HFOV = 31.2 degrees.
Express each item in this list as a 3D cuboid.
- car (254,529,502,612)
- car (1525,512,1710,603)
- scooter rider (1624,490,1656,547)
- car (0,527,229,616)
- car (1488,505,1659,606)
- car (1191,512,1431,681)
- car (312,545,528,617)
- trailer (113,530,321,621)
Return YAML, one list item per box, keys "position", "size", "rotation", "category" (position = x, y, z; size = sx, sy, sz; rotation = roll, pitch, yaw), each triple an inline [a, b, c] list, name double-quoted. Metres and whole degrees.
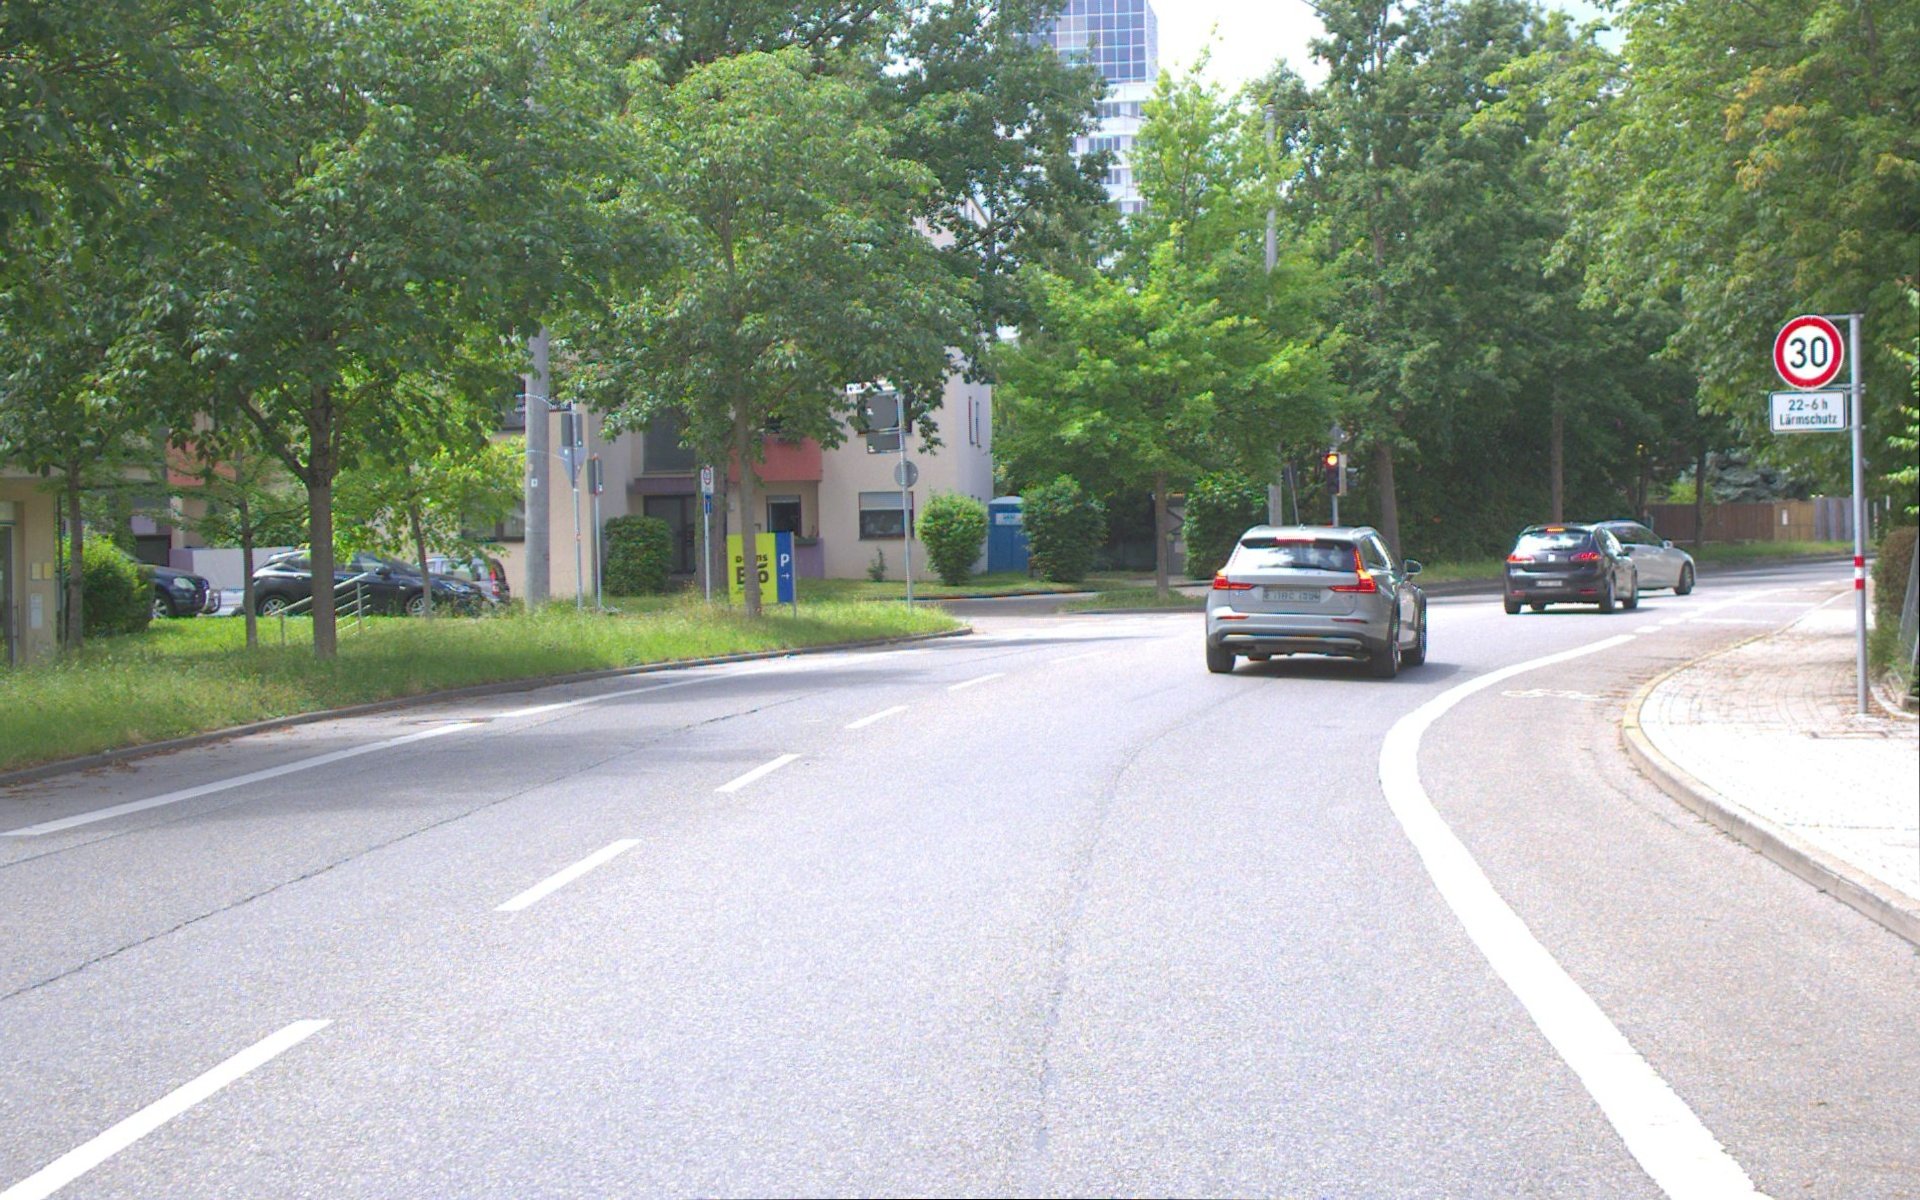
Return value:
- position: [-10.458, -0.525, 61.938]
  size: [4.078, 1.395, 1.794]
  rotation: [0, -3, 5]
  category: "car"
- position: [12.833, -0.819, 66.945]
  size: [1.808, 1.611, 4.320]
  rotation: [3, 1, 36]
  category: "car"
- position: [20.835, -2.500, 105.312]
  size: [0.705, 1.721, 0.680]
  rotation: [0, 0, -20]
  category: "scooter rider"
- position: [-15.684, -0.513, 62.708]
  size: [4.176, 1.518, 1.901]
  rotation: [-1, 1, 5]
  category: "car"
- position: [10.027, -0.748, 55.964]
  size: [1.806, 1.518, 4.324]
  rotation: [3, 2, 23]
  category: "car"
- position: [3.641, -0.091, 35.035]
  size: [1.957, 1.518, 4.327]
  rotation: [2, 2, 11]
  category: "car"
- position: [-11.117, -0.388, 70.924]
  size: [4.078, 1.395, 1.794]
  rotation: [0, -3, 5]
  category: "car"
- position: [-15.397, -0.497, 71.373]
  size: [3.906, 1.793, 1.630]
  rotation: [0, -3, 3]
  category: "trailer"
